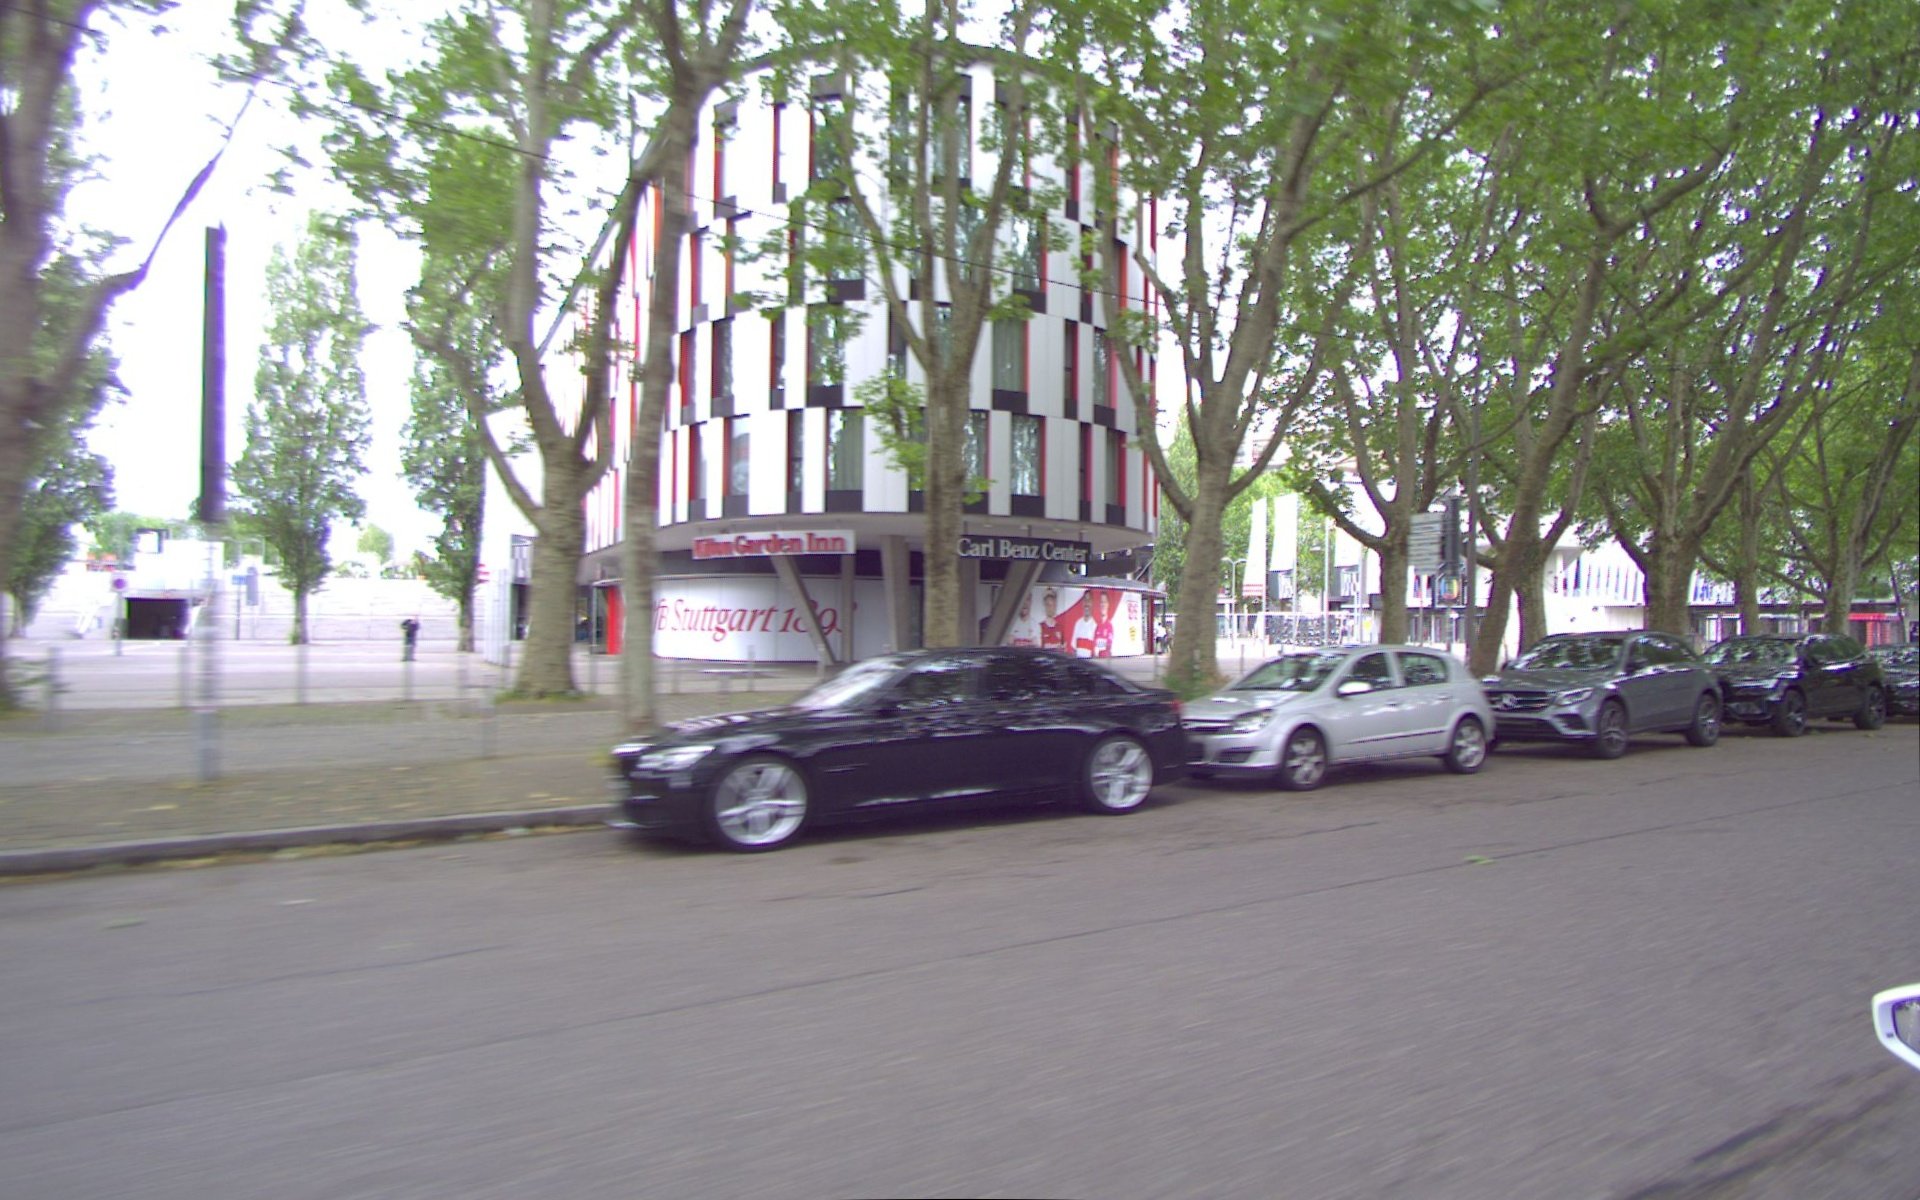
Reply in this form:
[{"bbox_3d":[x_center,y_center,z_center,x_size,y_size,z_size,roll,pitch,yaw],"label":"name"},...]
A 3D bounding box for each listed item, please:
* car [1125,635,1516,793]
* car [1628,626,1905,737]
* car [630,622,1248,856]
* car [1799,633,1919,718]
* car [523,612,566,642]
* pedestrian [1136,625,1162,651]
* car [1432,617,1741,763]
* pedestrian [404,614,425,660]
[{"bbox_3d":[4.074,1.169,11.232,4.180,1.475,1.825,1,-5,-30],"label":"car"},{"bbox_3d":[13.798,1.339,17.143,4.868,1.664,1.930,1,-5,-29],"label":"car"},{"bbox_3d":[-0.096,1.004,8.845,5.082,1.550,2.075,1,-3,-29],"label":"car"},{"bbox_3d":[18.630,1.456,19.746,4.389,1.513,1.826,1,-5,-30],"label":"car"},{"bbox_3d":[-31.477,2.038,75.963,2.284,2.040,5.142,-4,1,-29],"label":"car"},{"bbox_3d":[10.744,2.145,57.118,1.098,1.481,1.038,1,-2,-32],"label":"pedestrian"},{"bbox_3d":[8.825,1.190,14.043,4.599,1.740,1.859,2,-5,-33],"label":"car"},{"bbox_3d":[-20.899,1.413,38.494,0.684,1.712,0.640,1,-1,-28],"label":"pedestrian"}]
